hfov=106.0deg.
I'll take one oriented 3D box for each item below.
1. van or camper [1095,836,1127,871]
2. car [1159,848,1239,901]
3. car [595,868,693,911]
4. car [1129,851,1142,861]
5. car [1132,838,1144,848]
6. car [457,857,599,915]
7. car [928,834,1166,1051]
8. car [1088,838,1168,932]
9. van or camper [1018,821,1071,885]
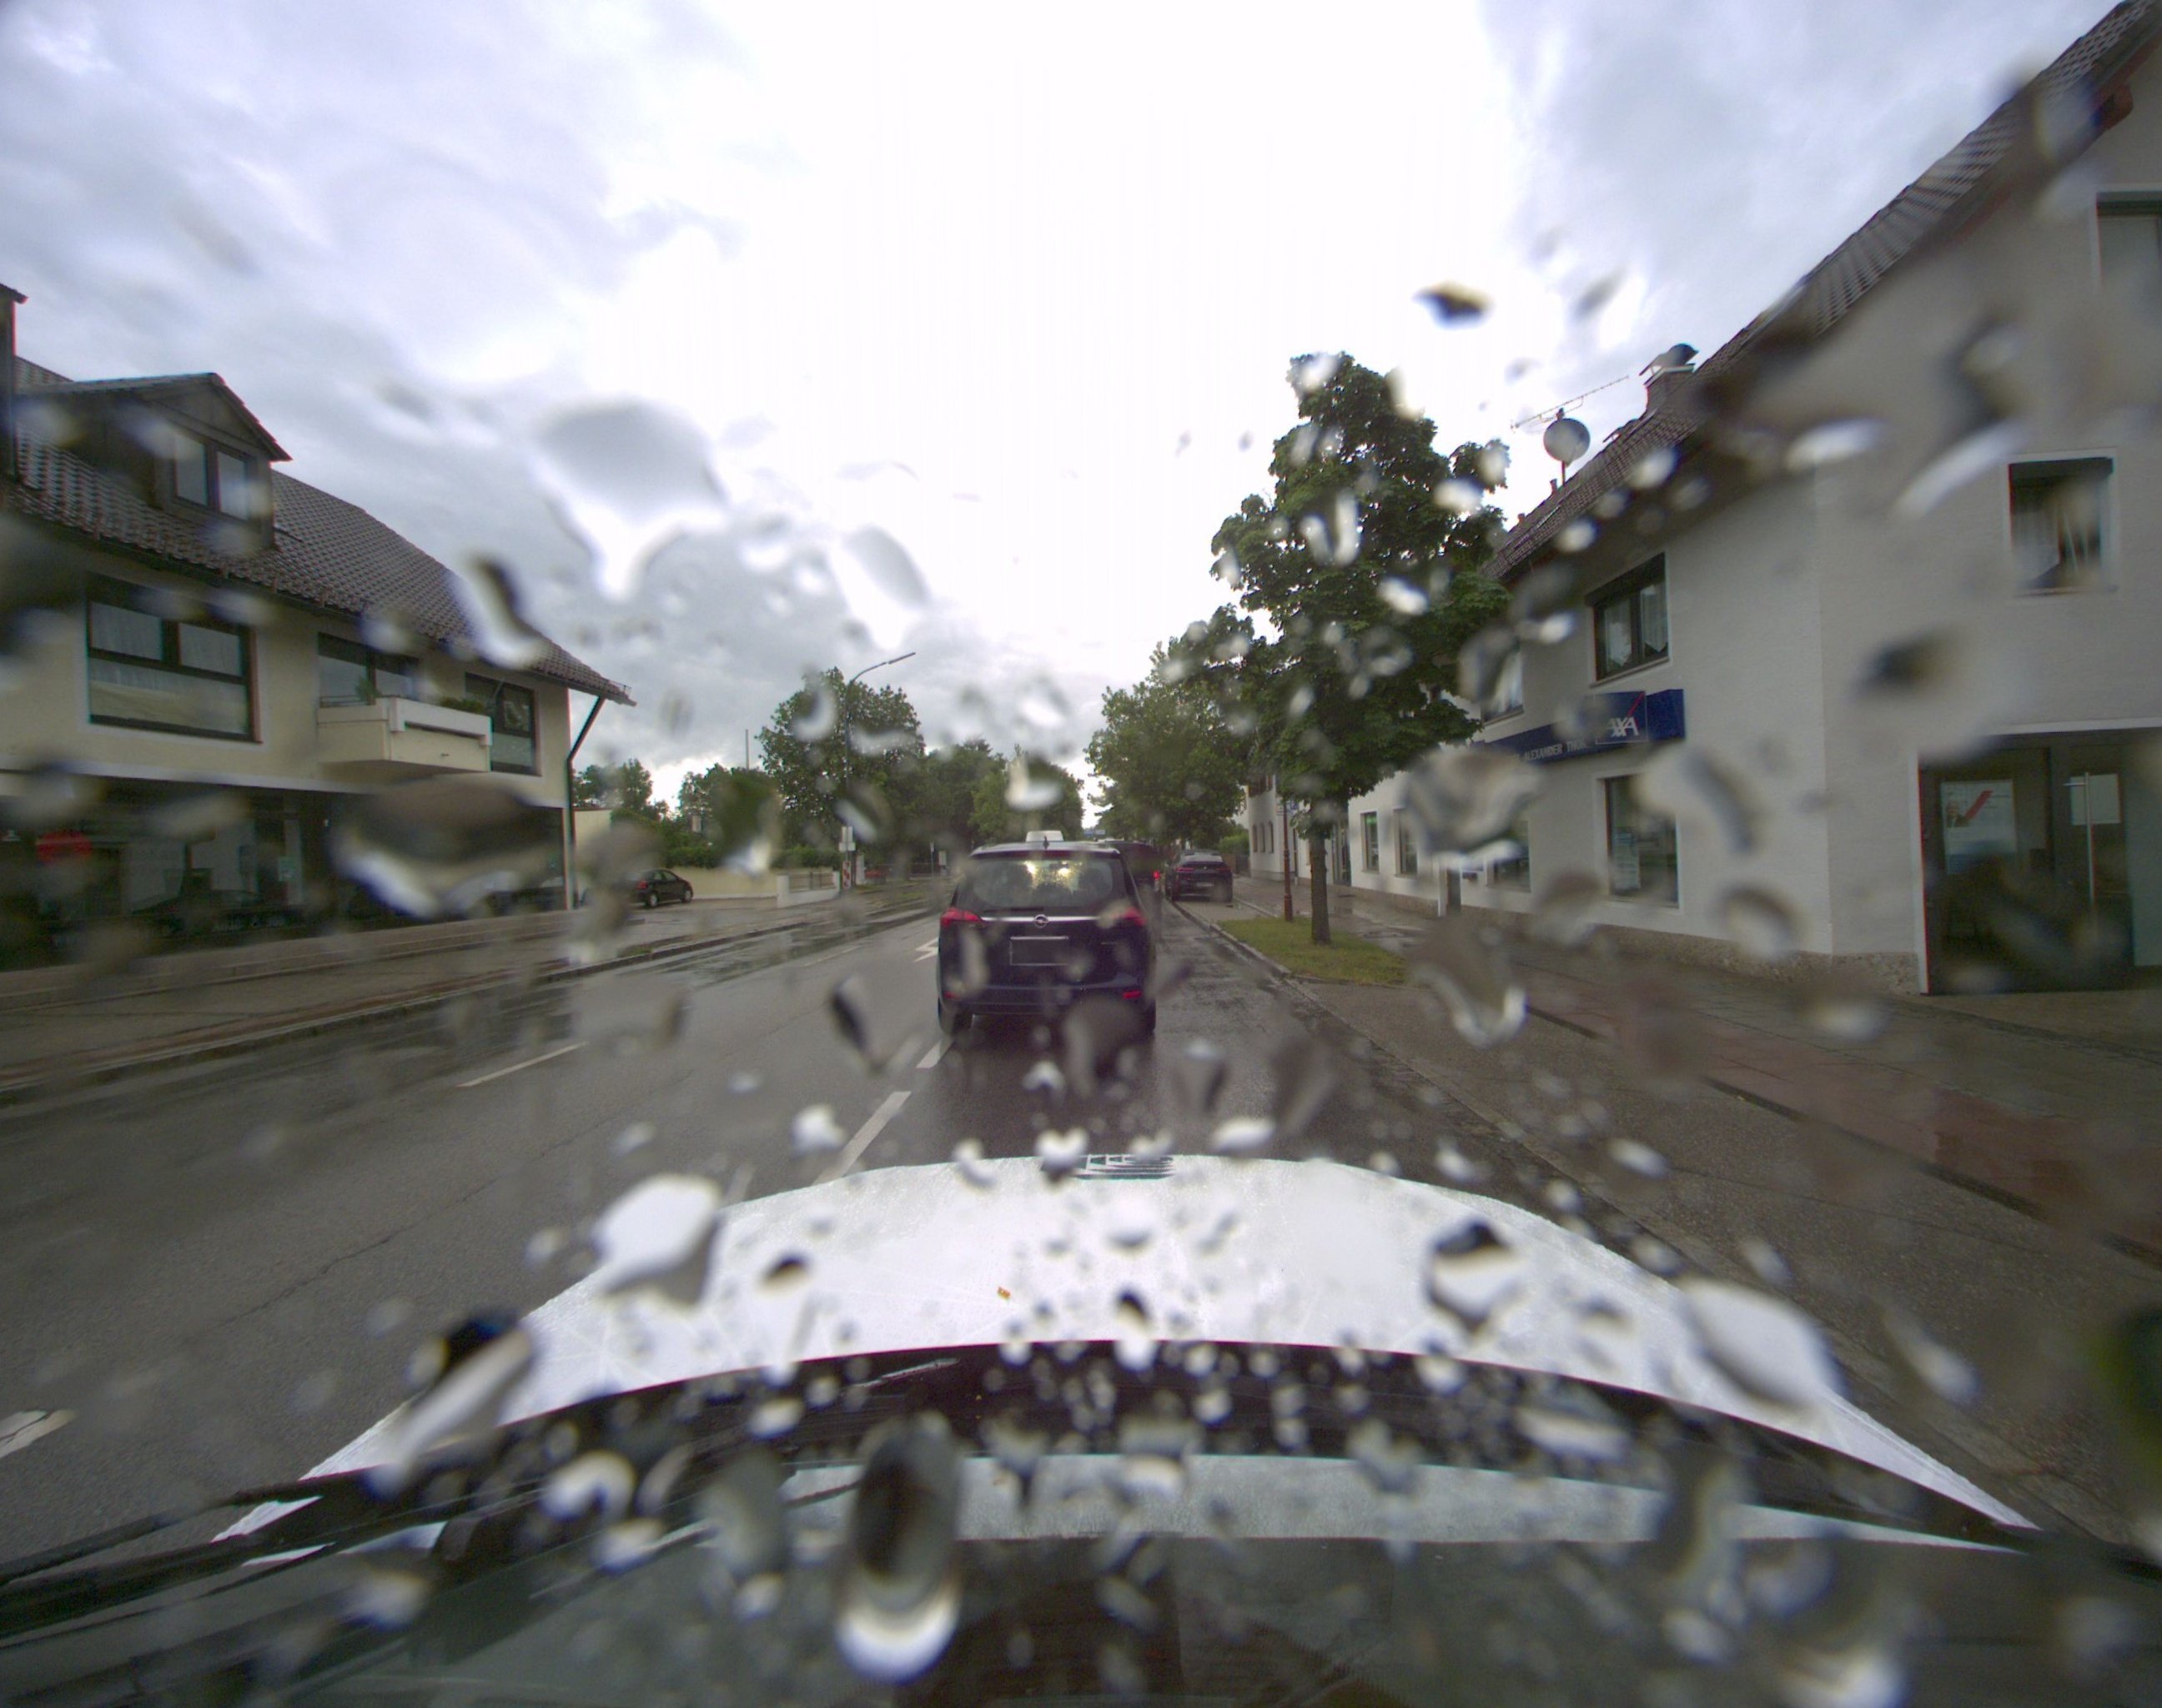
[{"bbox_3d":[2.381,-0.039,65.158,2.351,2.665,5.374,-2,0,2],"label":"van or camper"},{"bbox_3d":[3.750,0.621,26.580,2.110,1.581,3.936,0,0,1],"label":"car"},{"bbox_3d":[-16.260,1.277,30.477,1.601,1.380,3.510,-3,0,2],"label":"car"},{"bbox_3d":[7.716,0.319,115.157,1.624,1.378,3.624,-1,-1,2],"label":"car"},{"bbox_3d":[8.704,-1.726,124.799,1.624,1.378,3.624,-3,0,2],"label":"car"},{"bbox_3d":[-20.819,1.116,30.949,1.957,1.919,4.738,-3,0,1],"label":"car"},{"bbox_3d":[-0.191,0.665,7.924,1.762,1.604,3.665,-1,0,2],"label":"car"},{"bbox_3d":[0.954,0.592,16.979,1.494,1.776,3.113,-1,0,2],"label":"car"},{"bbox_3d":[-1.839,-0.029,38.684,2.091,2.707,6.255,-2,0,-6],"label":"van or camper"}]
